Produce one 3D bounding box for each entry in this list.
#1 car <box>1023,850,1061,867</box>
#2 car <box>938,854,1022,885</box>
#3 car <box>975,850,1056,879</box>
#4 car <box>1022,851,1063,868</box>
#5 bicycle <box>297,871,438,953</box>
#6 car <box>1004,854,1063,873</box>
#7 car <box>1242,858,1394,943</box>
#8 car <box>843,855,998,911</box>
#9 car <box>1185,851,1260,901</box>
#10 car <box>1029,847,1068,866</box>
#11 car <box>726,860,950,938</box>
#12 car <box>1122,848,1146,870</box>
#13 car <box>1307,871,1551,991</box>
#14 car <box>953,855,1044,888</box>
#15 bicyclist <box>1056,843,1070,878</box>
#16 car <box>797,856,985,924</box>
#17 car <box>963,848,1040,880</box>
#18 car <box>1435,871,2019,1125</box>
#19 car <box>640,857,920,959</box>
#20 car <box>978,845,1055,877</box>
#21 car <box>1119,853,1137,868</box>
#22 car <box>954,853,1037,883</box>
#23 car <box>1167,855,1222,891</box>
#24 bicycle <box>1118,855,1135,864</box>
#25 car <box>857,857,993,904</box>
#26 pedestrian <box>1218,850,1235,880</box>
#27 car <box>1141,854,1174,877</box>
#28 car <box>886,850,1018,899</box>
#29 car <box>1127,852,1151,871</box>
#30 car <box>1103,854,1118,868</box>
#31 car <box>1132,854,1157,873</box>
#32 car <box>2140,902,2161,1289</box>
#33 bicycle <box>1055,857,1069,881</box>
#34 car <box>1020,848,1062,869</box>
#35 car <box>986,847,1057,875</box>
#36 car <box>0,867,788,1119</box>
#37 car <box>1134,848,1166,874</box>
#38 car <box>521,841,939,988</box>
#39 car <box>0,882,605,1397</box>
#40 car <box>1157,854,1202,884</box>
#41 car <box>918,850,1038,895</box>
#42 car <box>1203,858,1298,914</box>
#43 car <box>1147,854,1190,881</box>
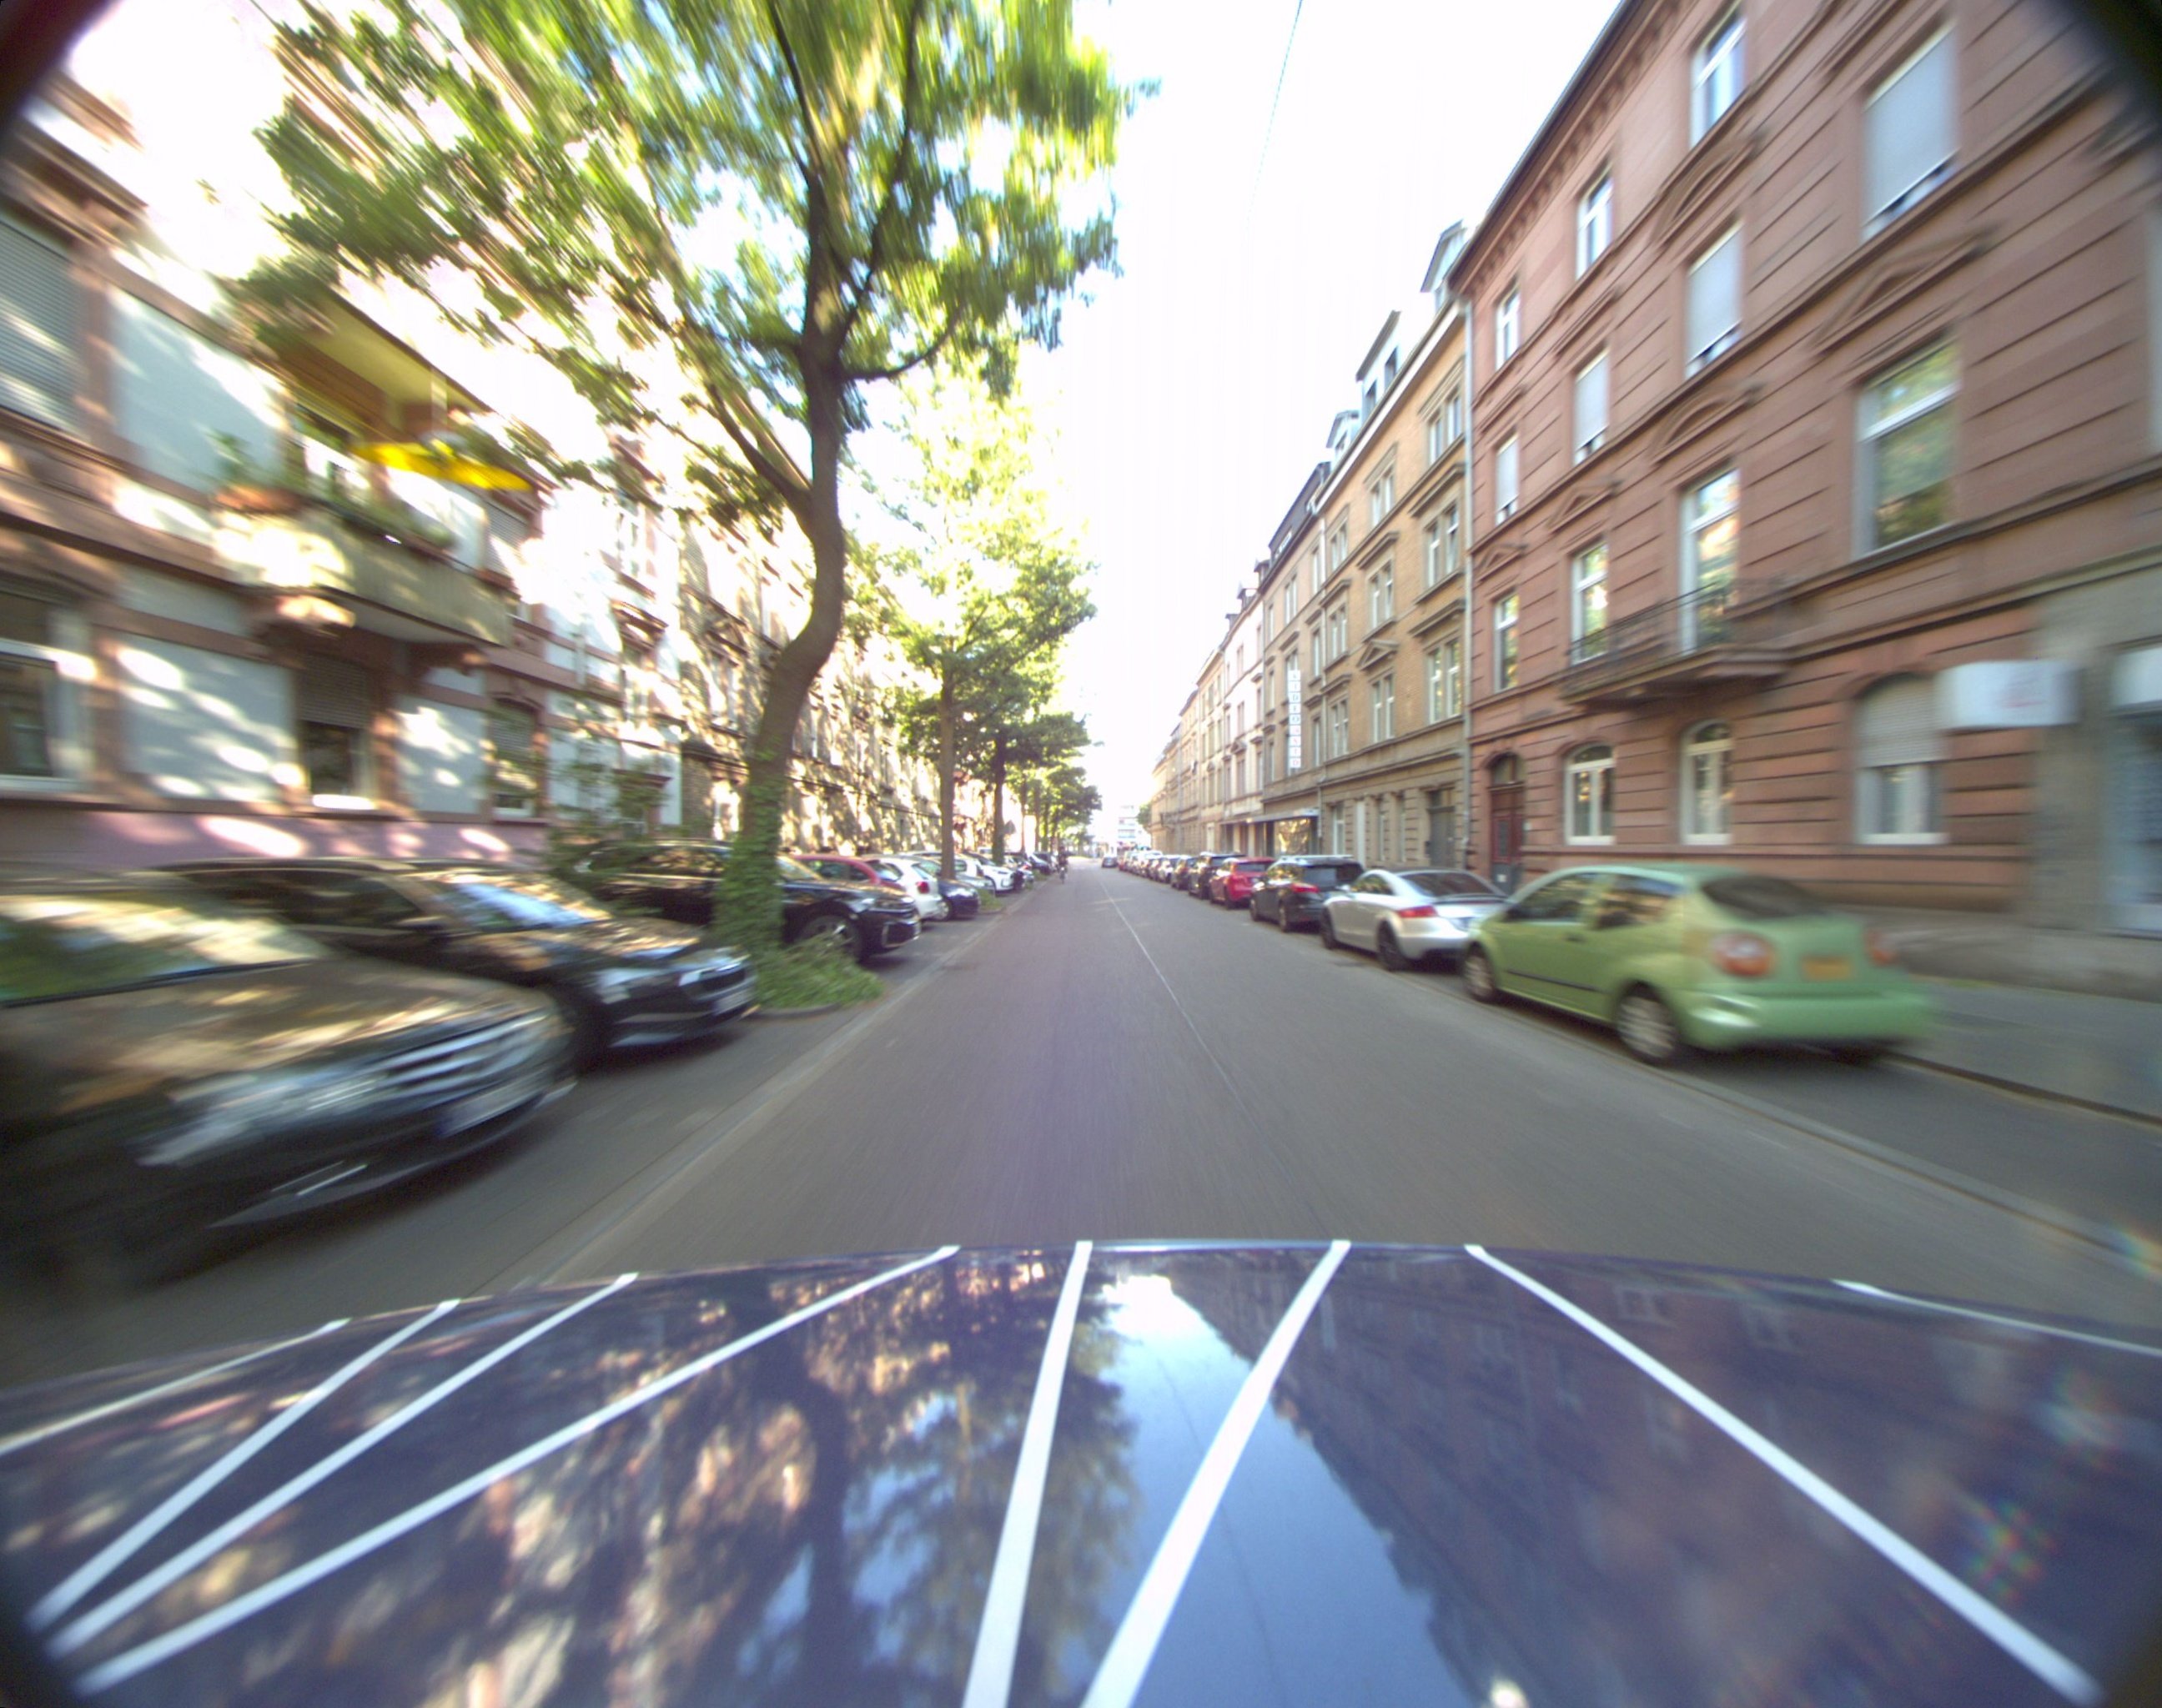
[{"bbox_3d":[-4.344,0.487,85.329,4.056,1.612,1.781,4,1,1],"label":"car"},{"bbox_3d":[-4.972,0.755,37.949,3.998,1.486,1.686,0,0,-3],"label":"car"},{"bbox_3d":[-4.063,0.633,47.598,4.933,1.623,2.078,2,0,-3],"label":"car"},{"bbox_3d":[-4.050,0.588,80.461,4.056,1.571,1.781,3,0,2],"label":"car"},{"bbox_3d":[-10.219,0.793,10.964,0.325,1.044,1.704,0,0,4],"label":"bicycle"},{"bbox_3d":[-3.746,0.759,60.264,4.468,1.360,1.903,2,0,2],"label":"car"},{"bbox_3d":[4.811,0.863,16.132,1.825,1.468,4.423,-2,0,0],"label":"car"},{"bbox_3d":[-4.650,0.819,22.497,4.234,1.527,1.800,-1,0,-3],"label":"car"},{"bbox_3d":[4.909,0.711,26.963,1.825,1.591,4.313,-2,0,0],"label":"car"},{"bbox_3d":[-4.042,0.270,95.303,4.699,1.966,1.925,4,1,1],"label":"car"},{"bbox_3d":[-4.780,0.867,15.406,3.998,1.454,1.782,0,0,-3],"label":"car"},{"bbox_3d":[5.114,0.478,73.507,1.947,2.045,4.744,-1,0,0],"label":"car"},{"bbox_3d":[4.755,0.966,11.098,1.709,1.315,4.101,0,0,0],"label":"car"},{"bbox_3d":[-3.808,0.789,35.436,3.997,1.448,1.687,0,0,1],"label":"car"},{"bbox_3d":[-1.003,0.351,41.876,0.712,1.865,1.120,0,1,0],"label":"bicyclist"},{"bbox_3d":[-4.423,0.818,18.114,3.997,1.380,1.677,2,0,0],"label":"car"},{"bbox_3d":[-4.471,0.539,43.266,4.135,1.778,1.945,0,0,2],"label":"car"},{"bbox_3d":[4.824,0.922,6.577,1.709,1.431,3.959,0,0,0],"label":"car"},{"bbox_3d":[-4.889,0.844,12.809,3.998,1.581,1.782,0,0,-3],"label":"car"},{"bbox_3d":[-4.262,0.475,50.780,4.933,1.890,2.175,2,0,-3],"label":"car"},{"bbox_3d":[4.888,0.707,79.038,1.641,1.482,3.825,-1,0,0],"label":"car"},{"bbox_3d":[-4.510,0.721,40.439,4.155,1.446,1.936,1,0,-1],"label":"car"},{"bbox_3d":[4.909,0.769,33.448,1.867,1.464,4.489,0,0,1],"label":"car"},{"bbox_3d":[5.599,0.704,92.805,2.043,1.092,0.587,-1,1,2],"label":"bicycle"},{"bbox_3d":[-5.093,0.844,25.166,4.110,1.461,1.801,-1,0,1],"label":"car"},{"bbox_3d":[7.943,0.575,41.429,0.697,1.622,1.018,0,1,-1],"label":"pedestrian"},{"bbox_3d":[5.109,0.740,51.145,1.751,1.464,4.244,0,0,0],"label":"car"},{"bbox_3d":[-4.612,0.727,27.693,4.487,1.647,1.891,-1,2,-1],"label":"car"},{"bbox_3d":[5.103,0.633,67.335,1.771,1.648,4.157,-1,0,0],"label":"car"},{"bbox_3d":[3.627,0.891,94.227,1.868,1.620,3.825,-1,0,2],"label":"car"},{"bbox_3d":[5.063,0.742,60.922,1.641,1.413,3.824,-1,0,-1],"label":"car"},{"bbox_3d":[4.901,0.924,0.941,1.586,1.464,3.999,0,0,0],"label":"car"},{"bbox_3d":[-1.020,0.796,41.833,0.712,1.252,1.887,0,0,0],"label":"bicycle"},{"bbox_3d":[-4.063,0.443,78.029,4.056,1.876,1.781,3,0,2],"label":"car"},{"bbox_3d":[-4.275,0.516,54.311,4.684,1.879,1.904,1,0,-21],"label":"car"},{"bbox_3d":[-4.906,0.888,5.767,4.563,1.520,2.000,0,0,2],"label":"car"},{"bbox_3d":[5.091,0.469,56.209,1.847,1.822,4.606,-1,0,-1],"label":"car"},{"bbox_3d":[-4.385,0.744,10.129,4.658,1.692,1.881,1,0,-3],"label":"car"},{"bbox_3d":[-5.012,0.915,3.282,4.671,1.494,1.932,0,0,0],"label":"car"},{"bbox_3d":[5.112,0.749,39.939,1.761,1.464,4.087,0,0,-1],"label":"car"},{"bbox_3d":[-4.071,0.721,30.611,4.486,1.647,1.891,-1,2,2],"label":"car"},{"bbox_3d":[4.896,0.869,22.578,1.825,1.417,4.313,-2,0,0],"label":"car"},{"bbox_3d":[5.041,0.751,44.385,1.891,1.436,4.541,-1,0,-1],"label":"car"}]
